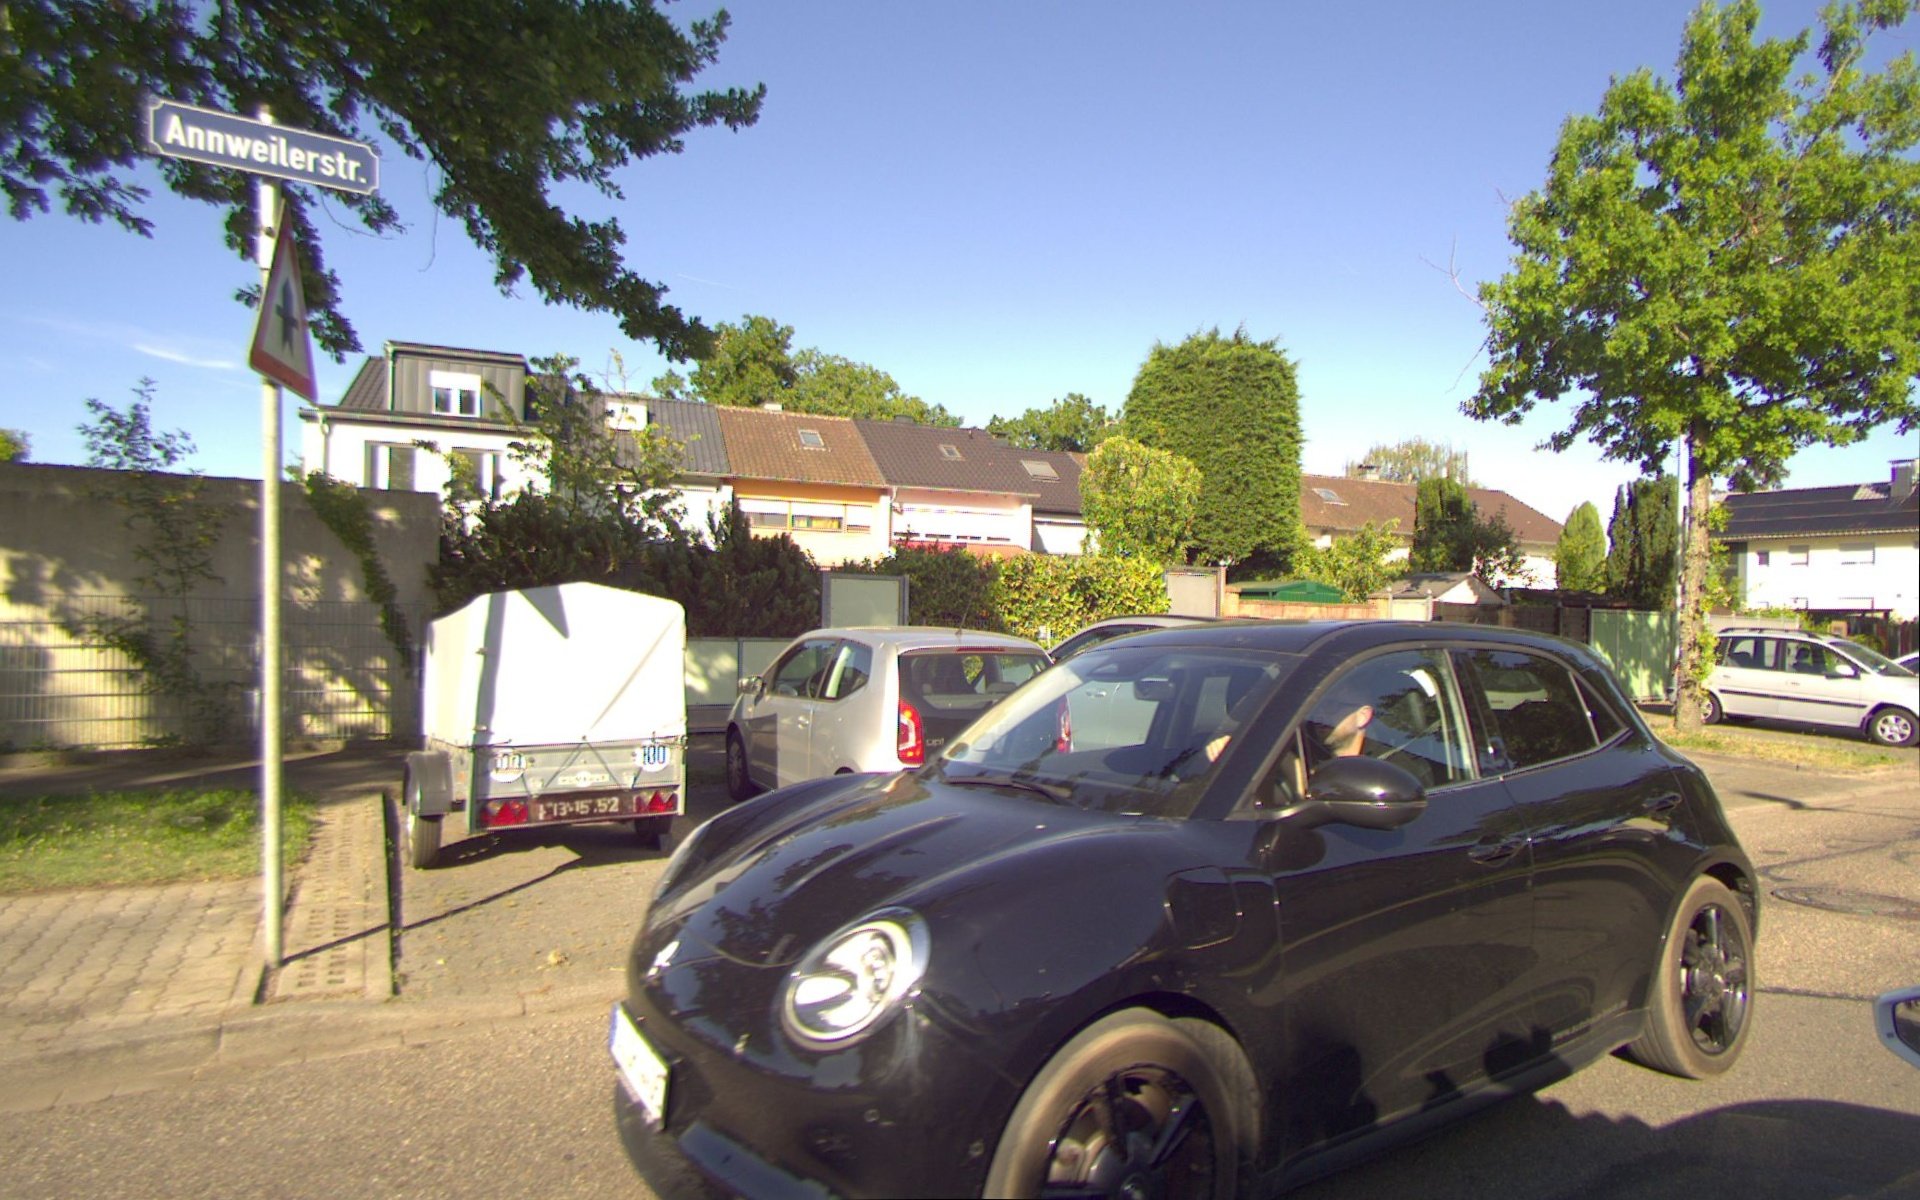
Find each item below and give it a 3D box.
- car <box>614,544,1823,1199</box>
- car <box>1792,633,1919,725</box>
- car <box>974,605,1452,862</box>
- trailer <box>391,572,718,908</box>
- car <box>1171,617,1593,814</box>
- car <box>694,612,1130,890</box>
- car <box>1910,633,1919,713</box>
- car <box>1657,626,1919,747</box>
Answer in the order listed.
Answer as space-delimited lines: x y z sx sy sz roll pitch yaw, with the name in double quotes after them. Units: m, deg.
1.056 0.788 3.508 3.956 1.575 1.899 2 -3 -32 "car"
18.707 1.521 19.130 1.976 1.661 3.969 2 -1 -29 "car"
1.916 0.888 8.415 1.835 1.635 3.524 2 -1 -36 "car"
-2.816 0.733 6.652 1.382 1.677 2.948 2 -1 -34 "trailer"
4.092 0.997 10.184 1.834 1.578 3.525 2 -1 -35 "car"
-0.587 0.866 7.455 1.787 1.496 3.532 2 -1 -30 "car"
22.960 1.628 21.173 1.980 1.754 3.962 2 -1 -34 "car"
14.139 1.330 16.493 1.976 1.692 3.969 2 -1 -29 "car"
